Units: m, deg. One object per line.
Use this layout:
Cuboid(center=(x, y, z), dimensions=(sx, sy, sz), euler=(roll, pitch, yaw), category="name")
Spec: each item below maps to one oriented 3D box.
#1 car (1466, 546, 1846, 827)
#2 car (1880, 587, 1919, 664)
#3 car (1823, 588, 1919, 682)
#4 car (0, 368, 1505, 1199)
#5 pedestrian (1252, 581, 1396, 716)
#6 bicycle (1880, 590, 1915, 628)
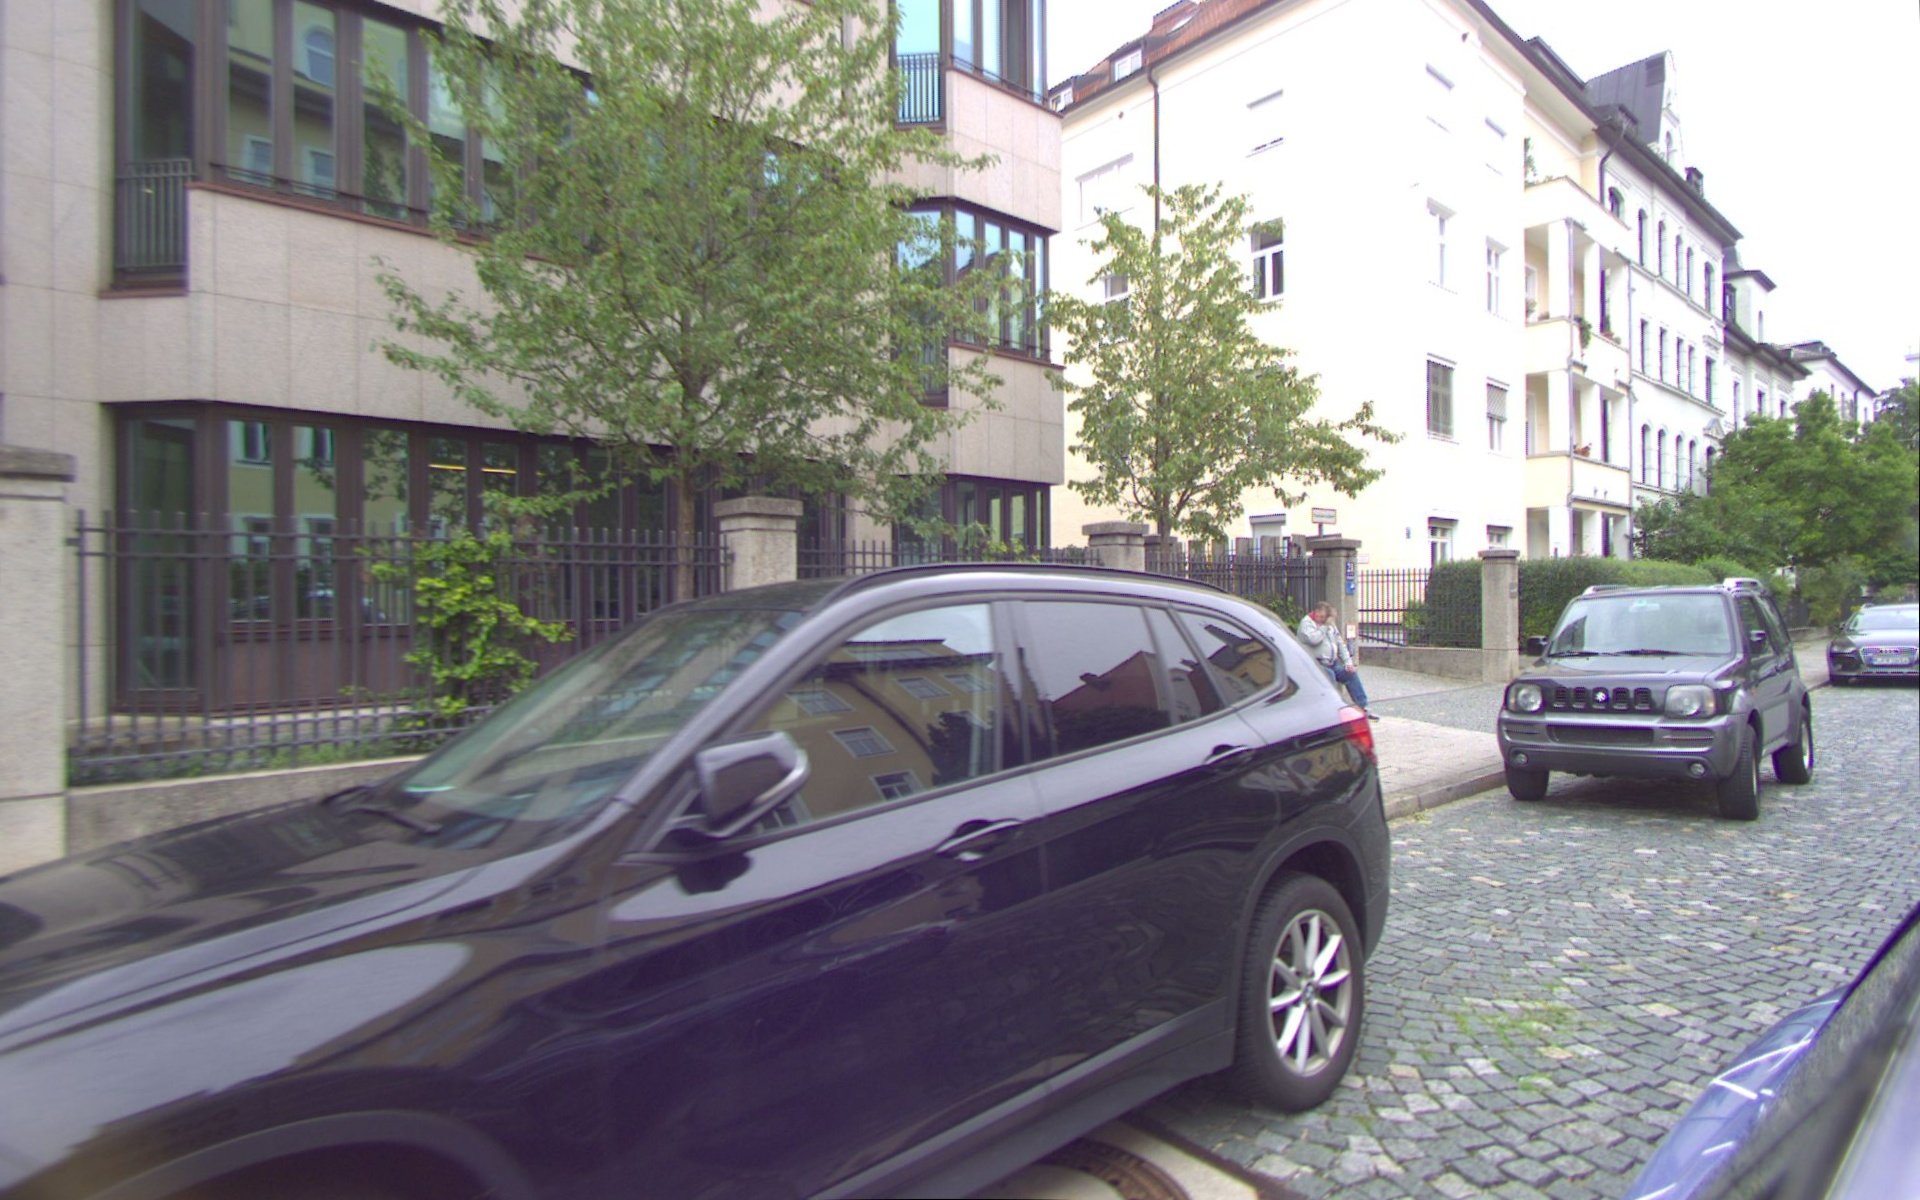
Cuboid(center=(5.821, 0.570, 8.291), dimensions=(3.820, 1.774, 1.620), euler=(-1, -3, -42), category="car")
Cuboid(center=(21.783, 0.471, 21.950), dimensions=(4.897, 1.572, 1.997), euler=(-1, -2, -40), category="car")
Cuboid(center=(17.802, 0.570, 18.719), dimensions=(4.927, 1.572, 1.996), euler=(-1, -3, -41), category="car")
Cuboid(center=(-0.478, 0.637, 2.823), dimensions=(4.729, 1.724, 1.863), euler=(-1, -3, -41), category="car")
Cuboid(center=(4.406, 0.533, 12.271), dimensions=(1.109, 1.511, 1.220), euler=(0, 2, -38), category="pedestrian")
Cuboid(center=(30.520, 0.274, 32.971), dimensions=(0.578, 1.210, 1.627), euler=(-2, -1, 35), category="bicycle")
